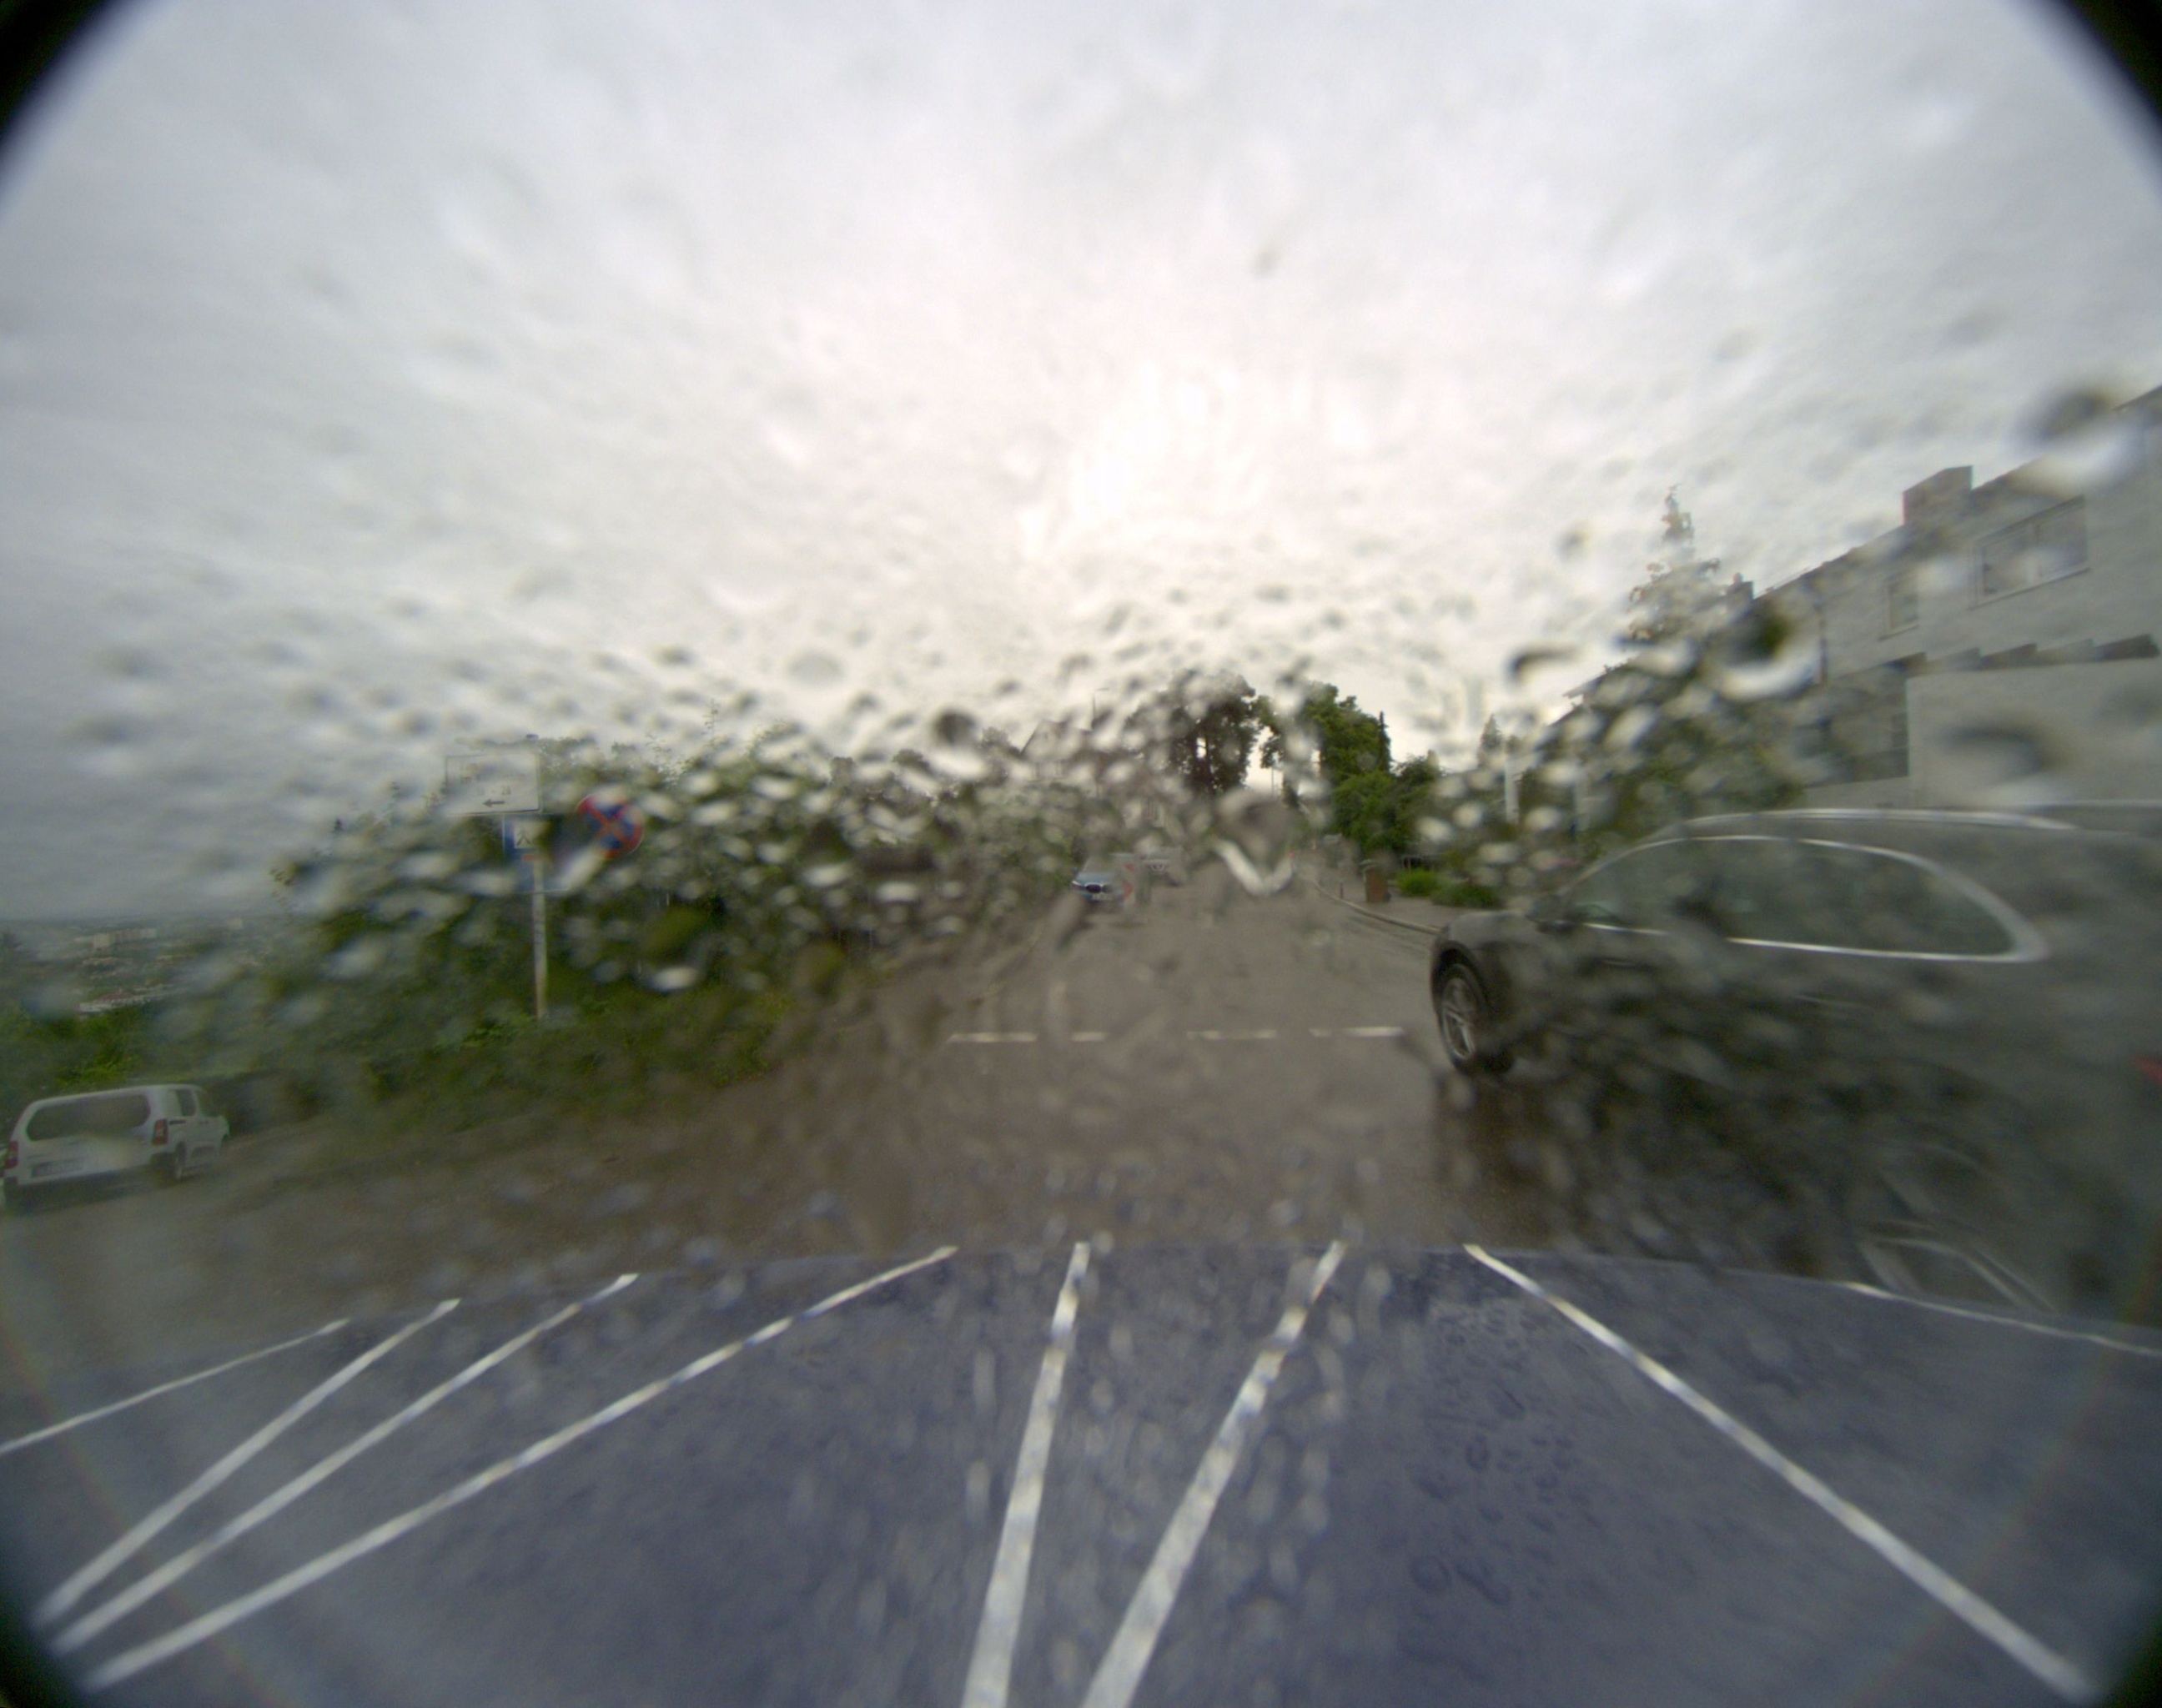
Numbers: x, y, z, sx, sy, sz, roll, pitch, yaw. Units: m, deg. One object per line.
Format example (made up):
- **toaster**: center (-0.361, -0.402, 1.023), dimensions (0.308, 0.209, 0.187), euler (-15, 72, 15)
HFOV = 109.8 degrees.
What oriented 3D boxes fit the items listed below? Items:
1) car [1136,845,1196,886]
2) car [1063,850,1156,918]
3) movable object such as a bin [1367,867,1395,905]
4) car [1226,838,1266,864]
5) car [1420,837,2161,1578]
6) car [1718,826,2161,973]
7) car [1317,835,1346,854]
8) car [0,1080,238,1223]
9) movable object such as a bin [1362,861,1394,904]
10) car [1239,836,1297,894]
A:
- **car**: center (3.693, 0.449, 32.504), dimensions (1.904, 1.532, 4.220), euler (-2, 1, 15)
- **car**: center (0.848, 0.698, 19.619), dimensions (1.798, 1.460, 4.218), euler (-2, 1, 10)
- **movable object such as a bin**: center (7.477, 0.790, 18.965), dimensions (0.580, 0.934, 0.504), euler (0, 0, 12)
- **car**: center (11.083, -0.229, 50.804), dimensions (1.662, 1.630, 4.222), euler (-2, 1, 25)
- **car**: center (3.260, 0.760, 3.152), dimensions (1.793, 1.585, 4.215), euler (-2, 1, 0)
- **car**: center (9.957, 0.426, 8.472), dimensions (3.992, 1.432, 1.770), euler (0, 2, 15)
- **car**: center (23.569, -0.933, 71.425), dimensions (1.662, 1.630, 4.223), euler (-2, 1, 31)
- **car**: center (-17.058, 5.178, 13.720), dimensions (1.758, 1.728, 3.997), euler (-3, -11, -38)
- **movable object such as a bin**: center (7.593, 0.716, 19.433), dimensions (0.692, 1.085, 0.421), euler (0, 0, 12)
- **car**: center (6.484, 0.328, 26.638), dimensions (1.779, 1.854, 4.219), euler (-1, 1, 12)
